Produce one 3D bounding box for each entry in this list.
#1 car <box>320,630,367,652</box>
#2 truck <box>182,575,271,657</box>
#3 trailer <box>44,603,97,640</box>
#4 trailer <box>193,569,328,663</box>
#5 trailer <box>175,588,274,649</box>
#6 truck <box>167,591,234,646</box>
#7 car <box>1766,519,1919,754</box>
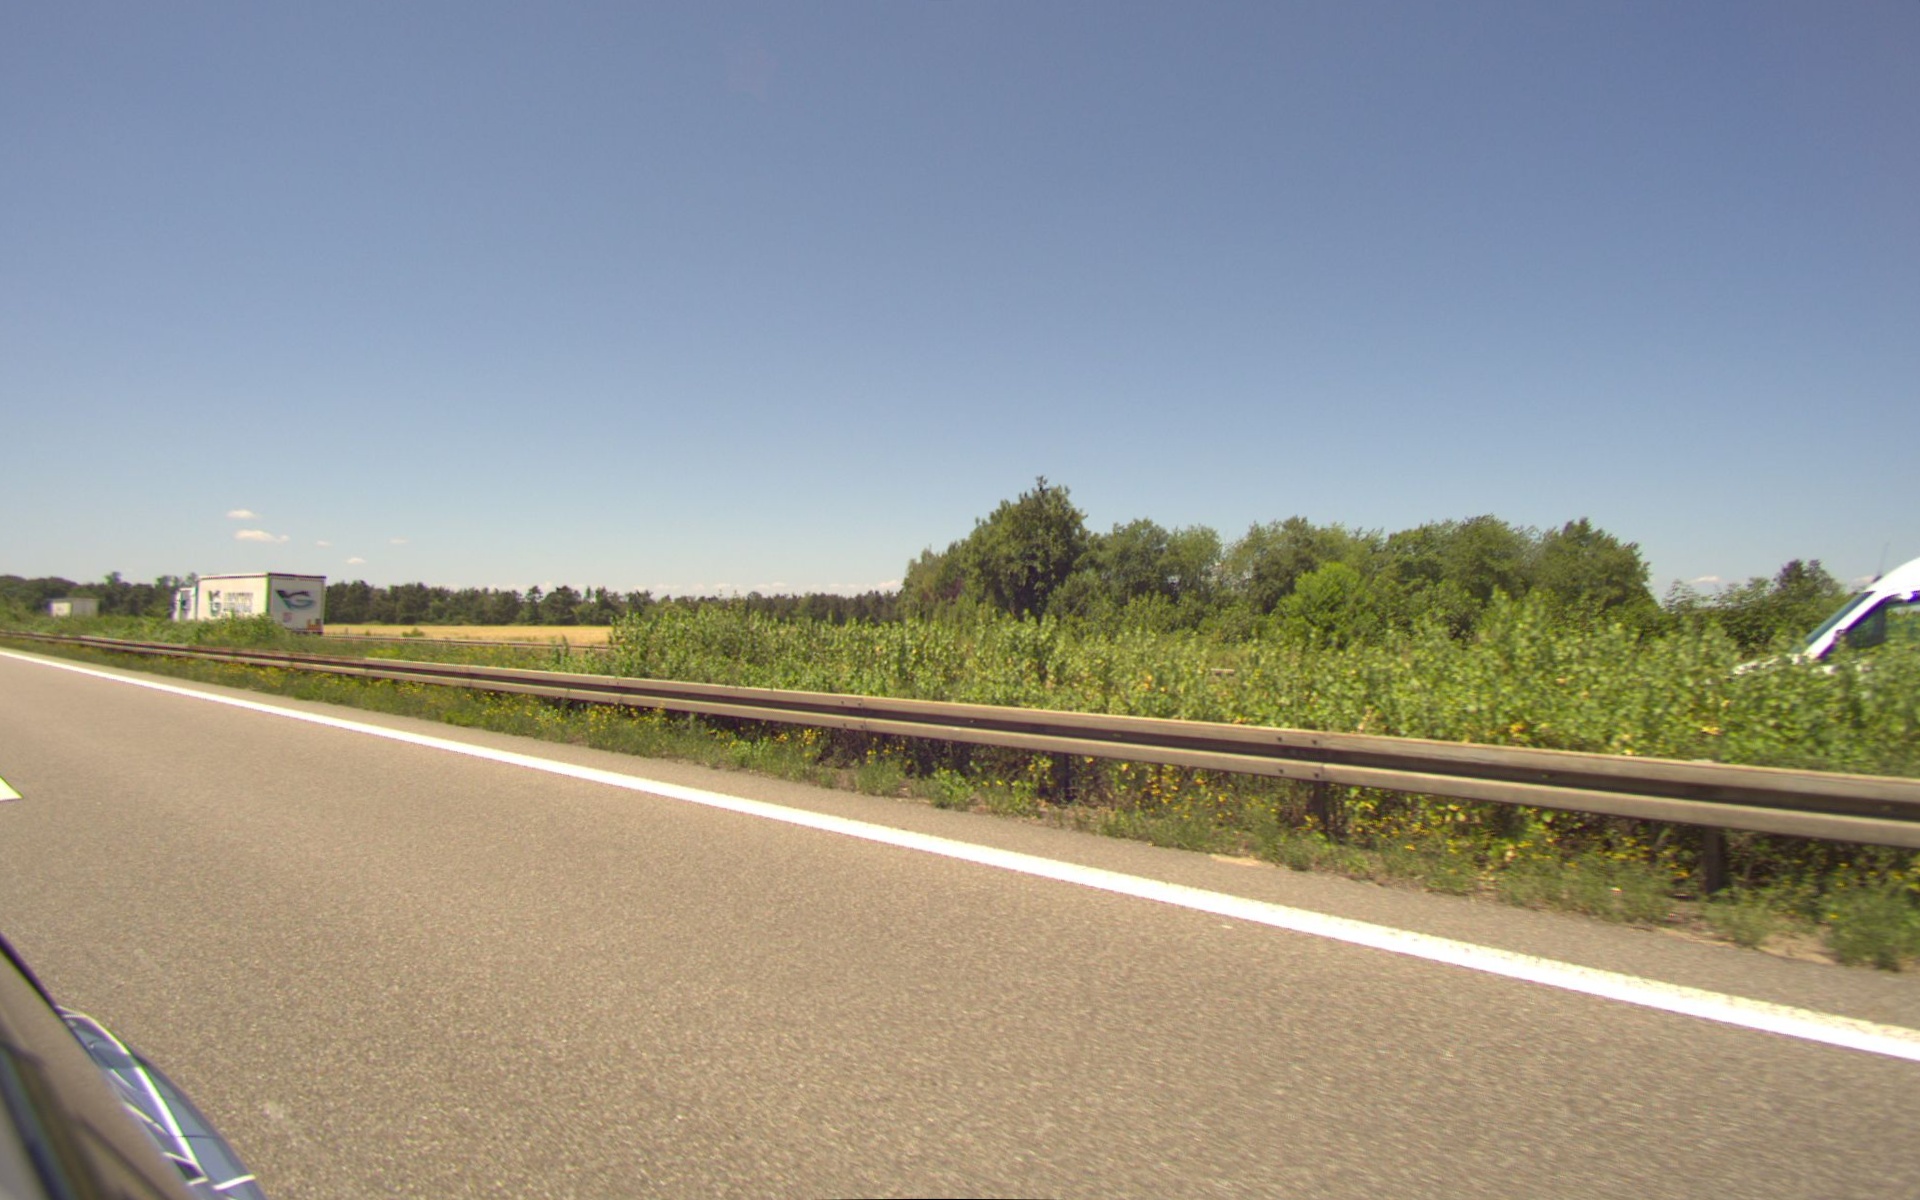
[{"bbox_3d":[-44.771,2.974,73.455,3.999,1.436,1.787,-1,0,42],"label":"car"},{"bbox_3d":[-42.904,0.905,59.125,6.536,4.560,2.792,-1,0,42],"label":"truck"},{"bbox_3d":[-106.406,2.523,120.963,13.951,4.089,3.026,-1,0,42],"label":"trailer"},{"bbox_3d":[-38.195,0.834,54.922,13.861,4.560,2.791,-1,0,42],"label":"trailer"},{"bbox_3d":[-54.411,1.336,74.632,14.320,4.089,2.924,-1,0,42],"label":"trailer"},{"bbox_3d":[-59.242,1.417,78.918,6.536,4.093,2.921,-1,0,42],"label":"truck"},{"bbox_3d":[12.148,0.339,9.783,6.729,2.412,2.059,-1,0,41],"label":"car"}]
